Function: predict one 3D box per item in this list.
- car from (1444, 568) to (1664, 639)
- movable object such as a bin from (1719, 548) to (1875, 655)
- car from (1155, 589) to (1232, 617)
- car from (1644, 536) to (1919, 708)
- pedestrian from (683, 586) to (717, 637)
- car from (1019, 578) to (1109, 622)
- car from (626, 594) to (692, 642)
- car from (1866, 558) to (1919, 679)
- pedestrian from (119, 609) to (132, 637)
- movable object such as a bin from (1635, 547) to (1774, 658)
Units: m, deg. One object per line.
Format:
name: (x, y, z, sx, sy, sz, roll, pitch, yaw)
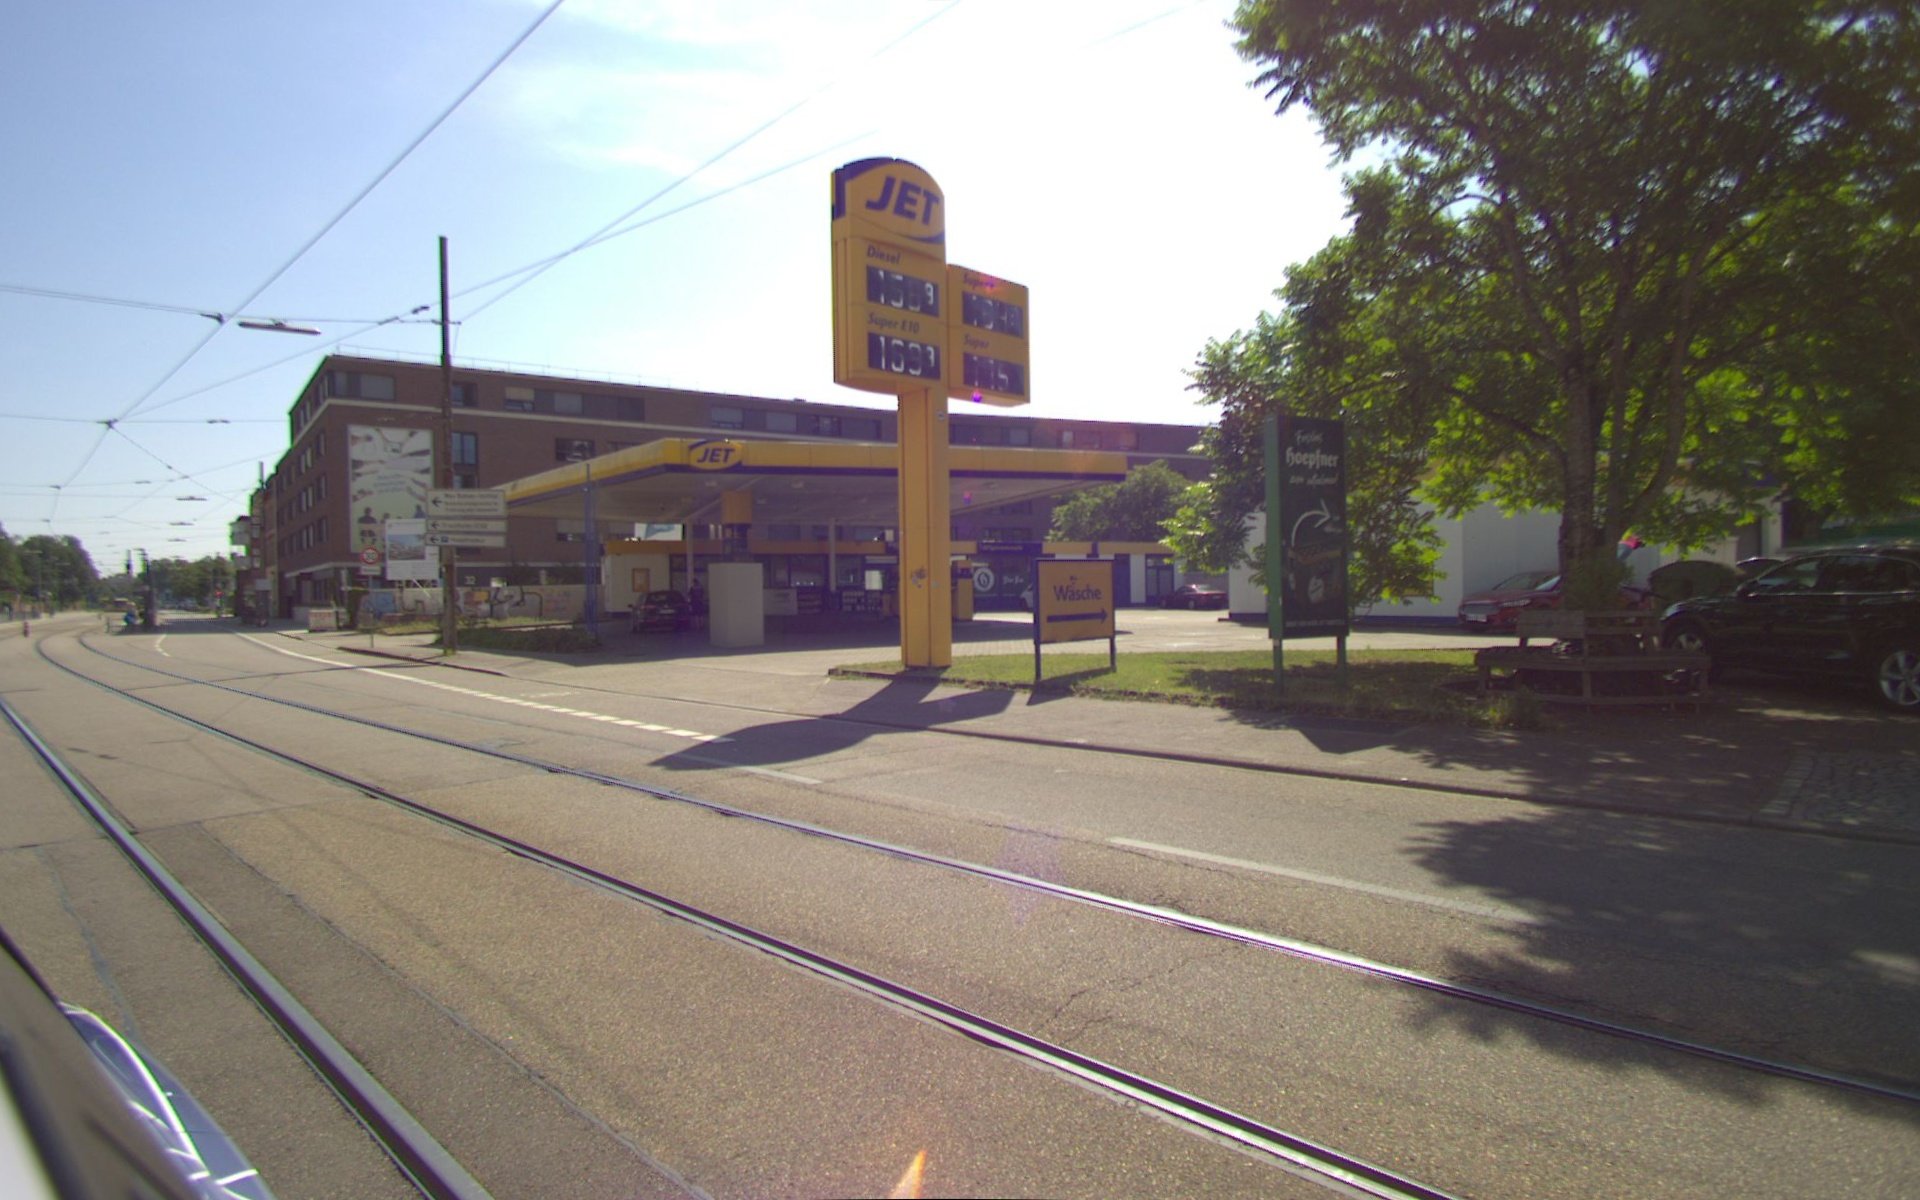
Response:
car: (13.624, 0.067, 23.225, 4.477, 1.471, 1.899, -1, -1, -20)
movable object such as a bin: (12.547, 0.018, 15.192, 1.398, 1.514, 1.384, -1, 0, -30)
car: (12.134, 0.172, 52.888, 1.731, 1.370, 4.146, -2, 0, -24)
car: (10.113, 0.178, 10.991, 1.990, 1.653, 4.663, -1, 0, -3)
pedestrian: (-9.087, 0.400, 35.376, 0.846, 1.738, 0.746, -1, 0, -43)
car: (4.926, -0.005, 48.848, 1.731, 1.997, 5.324, -2, 0, -26)
car: (-10.840, 0.645, 36.283, 1.731, 1.466, 4.424, -5, 0, -23)
car: (12.826, 0.214, 11.221, 1.820, 1.485, 4.003, -1, 0, -3)
pedestrian: (-53.751, 1.474, 65.216, 0.549, 1.773, 0.794, -2, 1, -45)
movable object such as a bin: (10.863, 0.022, 14.770, 1.401, 1.514, 1.381, -2, 0, -43)
